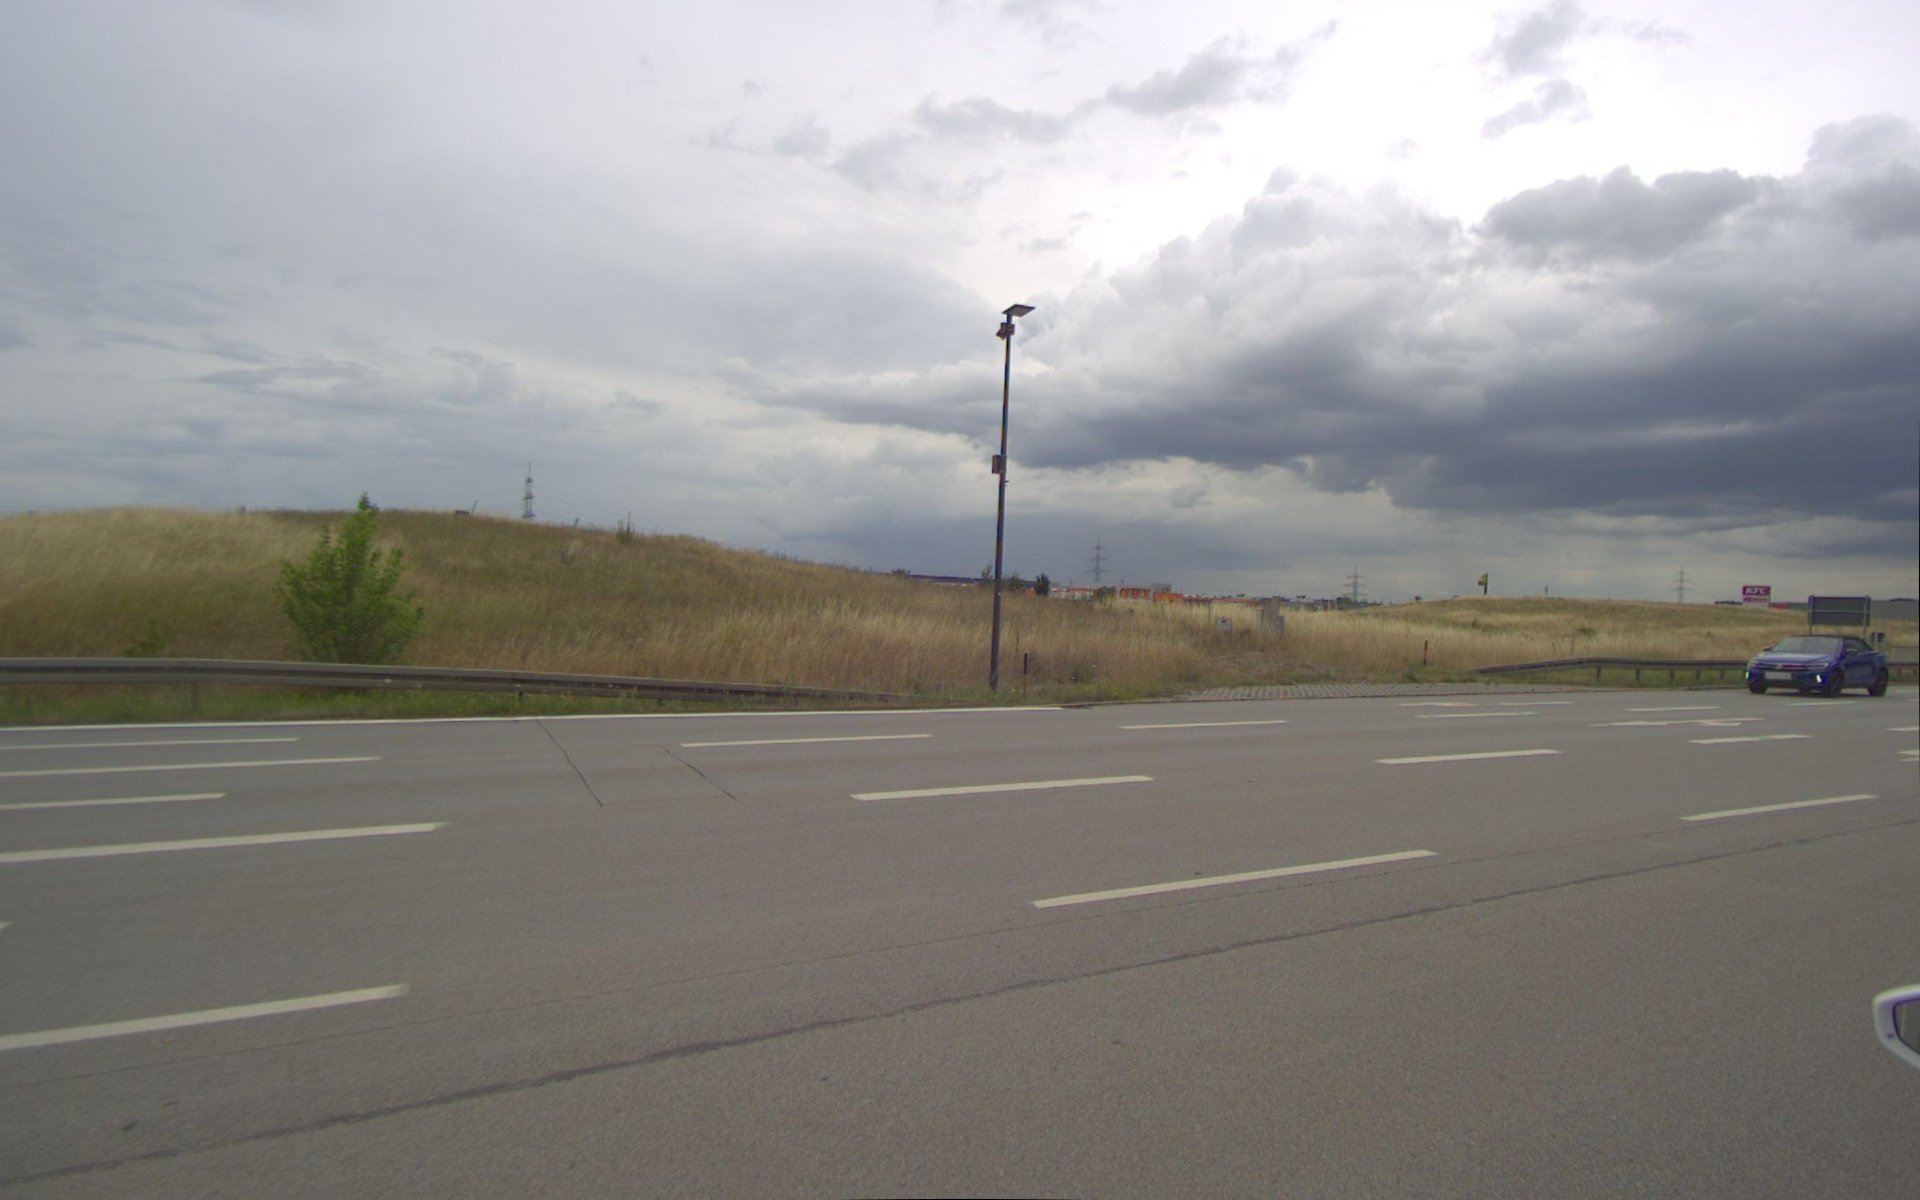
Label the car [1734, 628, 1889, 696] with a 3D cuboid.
[{"bbox_3d":[21.922,1.581,25.841,3.952,1.571,1.789,2,0,-30],"label":"car"}]
